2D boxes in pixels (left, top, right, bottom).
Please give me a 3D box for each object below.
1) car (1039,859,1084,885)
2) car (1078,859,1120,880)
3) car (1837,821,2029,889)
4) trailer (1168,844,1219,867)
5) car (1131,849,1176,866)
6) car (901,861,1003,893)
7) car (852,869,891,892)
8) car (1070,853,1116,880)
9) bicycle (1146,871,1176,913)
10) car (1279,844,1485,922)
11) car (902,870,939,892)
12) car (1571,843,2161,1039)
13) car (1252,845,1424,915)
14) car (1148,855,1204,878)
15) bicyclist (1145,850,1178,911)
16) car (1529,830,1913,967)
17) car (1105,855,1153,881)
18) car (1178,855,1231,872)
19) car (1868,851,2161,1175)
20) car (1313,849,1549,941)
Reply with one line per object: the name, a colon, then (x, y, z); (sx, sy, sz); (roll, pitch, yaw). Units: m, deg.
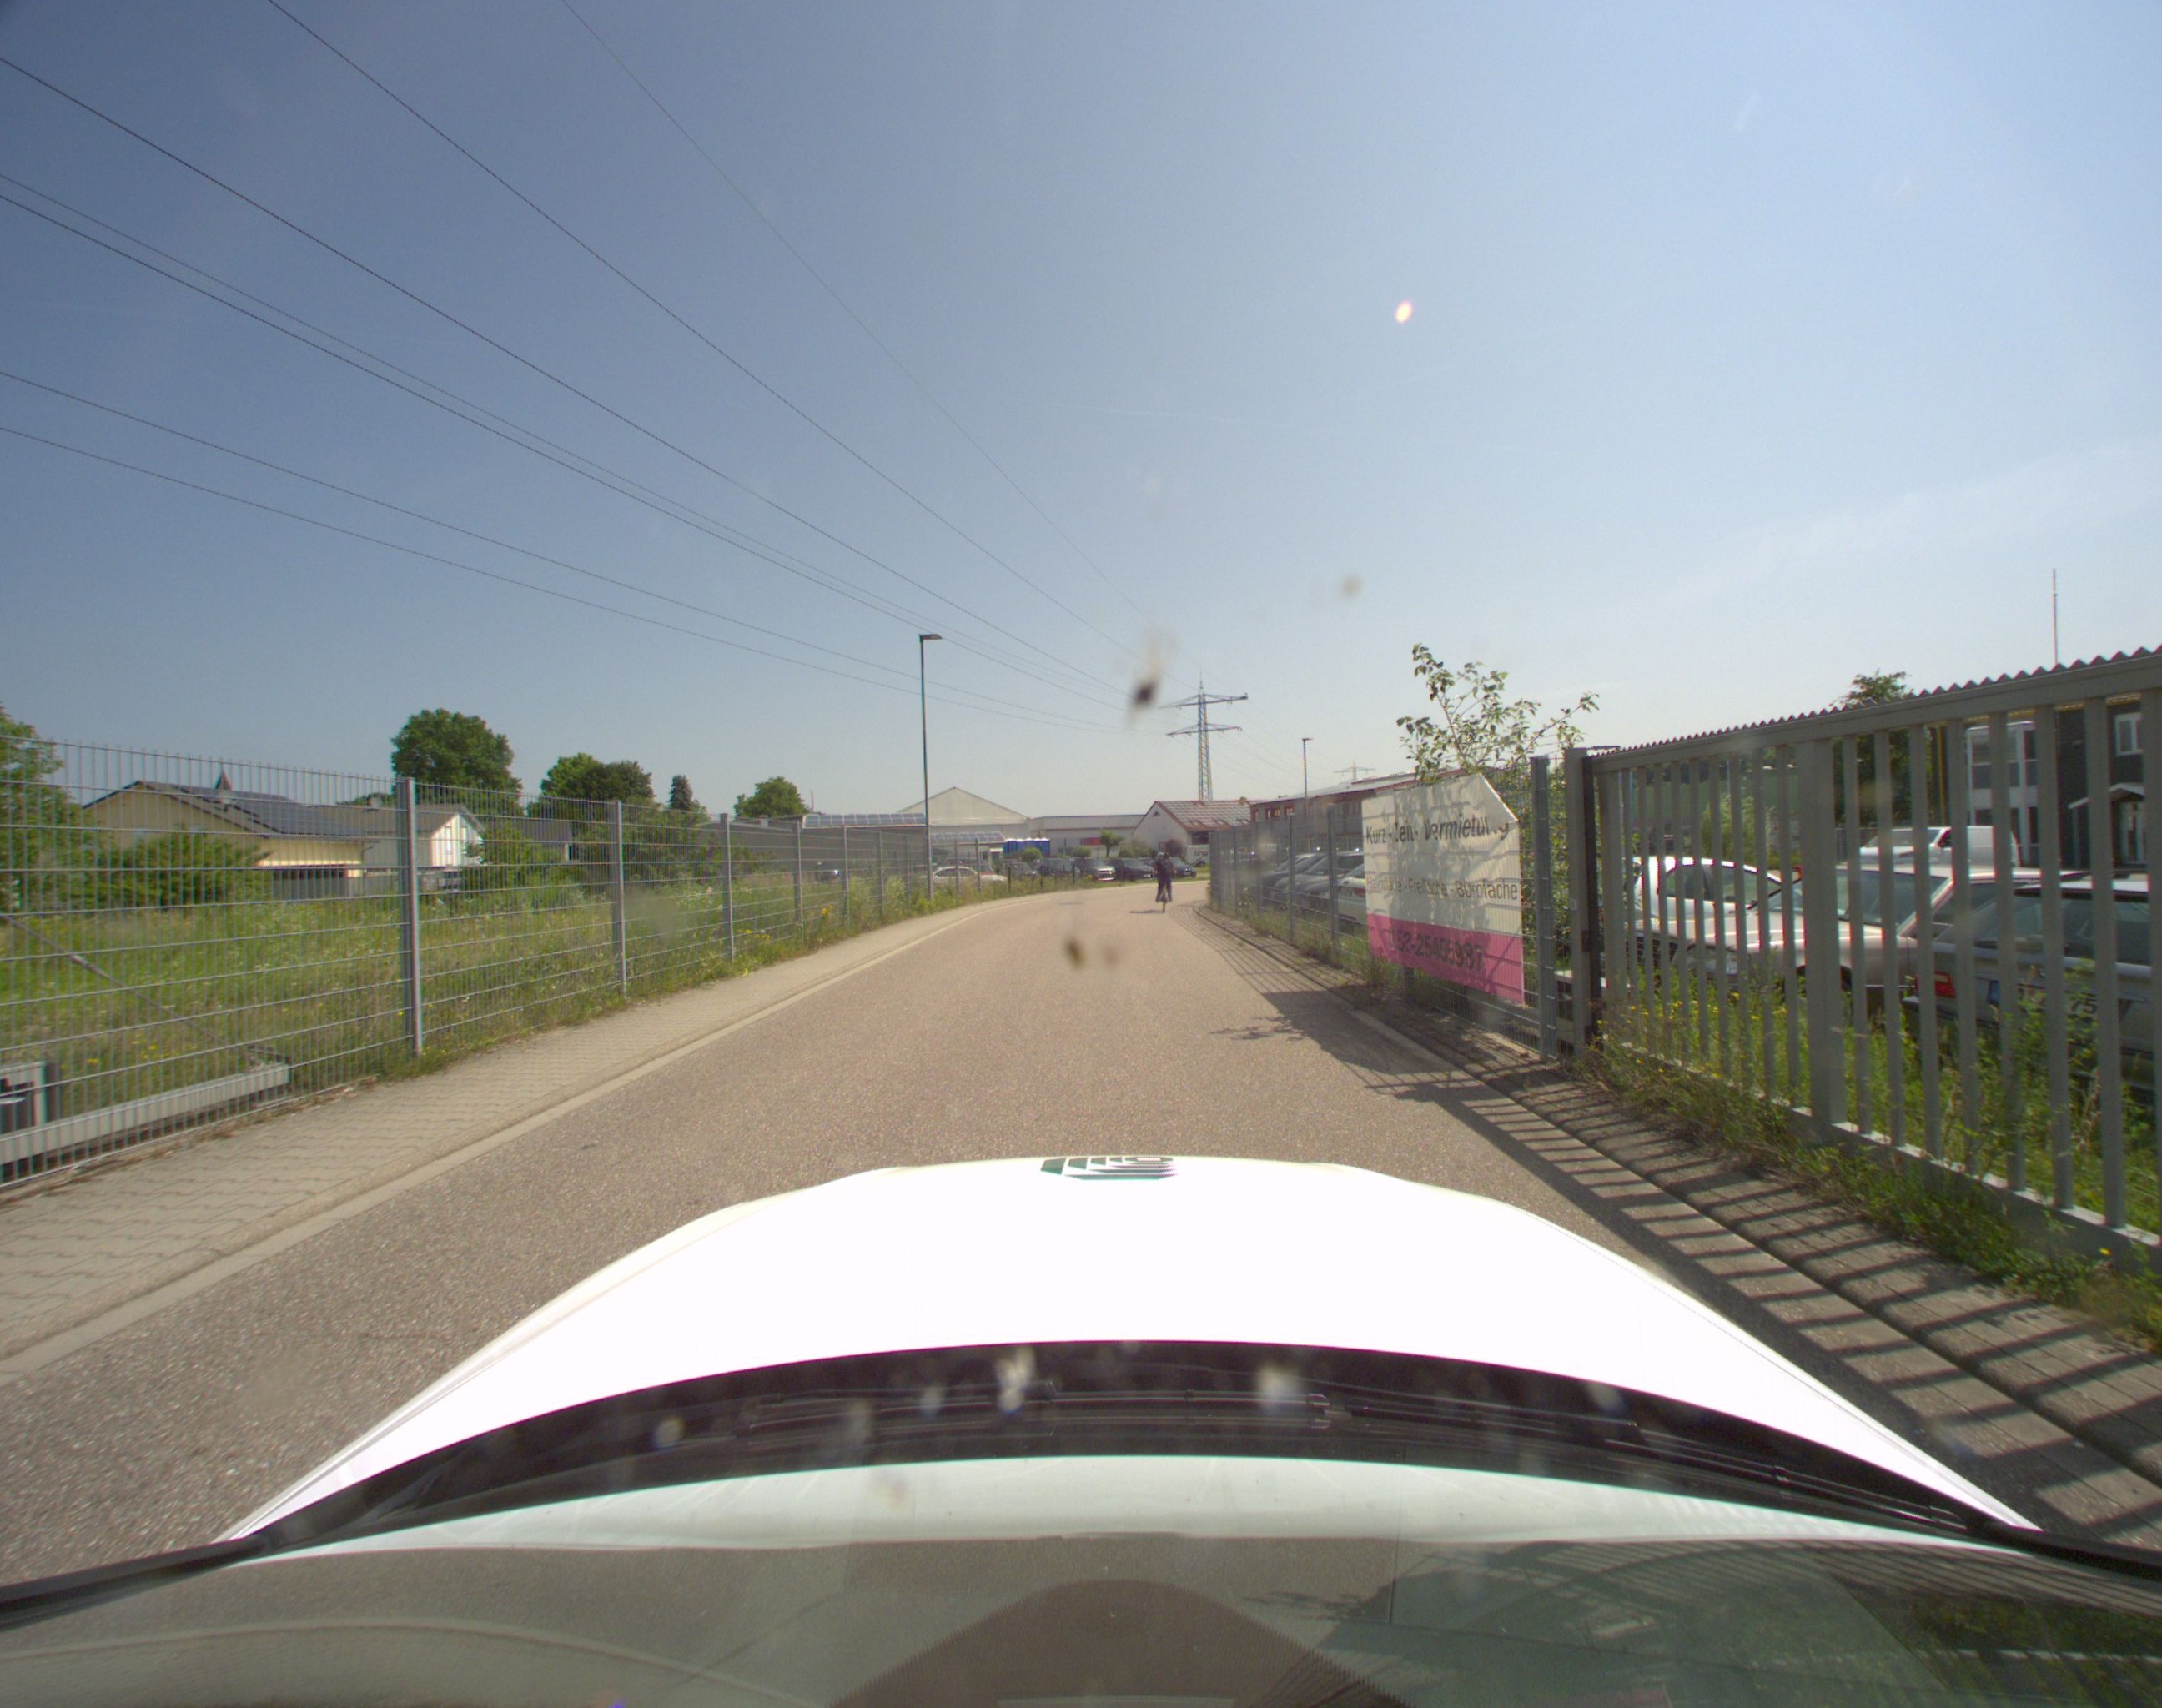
car: (-1.274, 1.150, 51.953); (1.868, 1.561, 3.674); (-2, 0, -18)
car: (1.250, 1.126, 59.681); (1.998, 1.420, 3.978); (-2, 0, -16)
car: (26.504, 0.018, 25.357); (5.067, 1.899, 1.849); (-2, 0, -14)
trailer: (10.479, 0.134, 75.968); (4.438, 1.945, 1.712); (-2, 0, -4)
car: (7.192, 0.345, 80.951); (3.996, 1.598, 1.866); (-2, 0, -17)
car: (-6.125, 1.063, 38.624); (4.560, 1.307, 1.857); (-2, 0, -18)
car: (-13.769, 1.733, 53.483); (1.872, 1.414, 3.412); (-1, 0, -25)
car: (0.737, 0.813, 52.454); (1.868, 1.644, 3.611); (-2, 0, -18)
bicycle: (2.206, 1.004, 22.261); (0.681, 1.051, 1.905); (-1, 0, 9)
car: (6.267, 0.604, 17.189); (3.644, 1.478, 1.748); (-1, -2, -7)
car: (-10.672, 1.778, 53.912); (1.869, 1.298, 3.417); (-2, 0, -20)
car: (6.489, 0.638, 6.879); (3.651, 1.354, 1.740); (-1, 0, -1)
car: (6.026, 0.588, 19.359); (3.529, 1.502, 1.710); (-2, 0, -2)
car: (6.284, 0.830, 54.459); (2.001, 1.435, 4.636); (-2, 0, -18)
bicyclist: (2.209, 0.704, 22.234); (0.838, 1.618, 1.042); (-1, 0, 8)
car: (7.189, 0.458, 9.349); (3.260, 1.354, 1.526); (-1, 0, -3)
car: (3.060, 0.909, 52.749); (1.868, 1.554, 3.747); (-2, 0, -18)
car: (9.909, 0.754, 65.368); (4.141, 1.261, 1.227); (-2, 0, -19)
car: (6.971, 0.758, 4.329); (4.154, 1.474, 1.636); (1, 0, -3)
car: (6.200, 0.702, 14.685); (3.514, 1.389, 1.635); (3, 0, -2)
